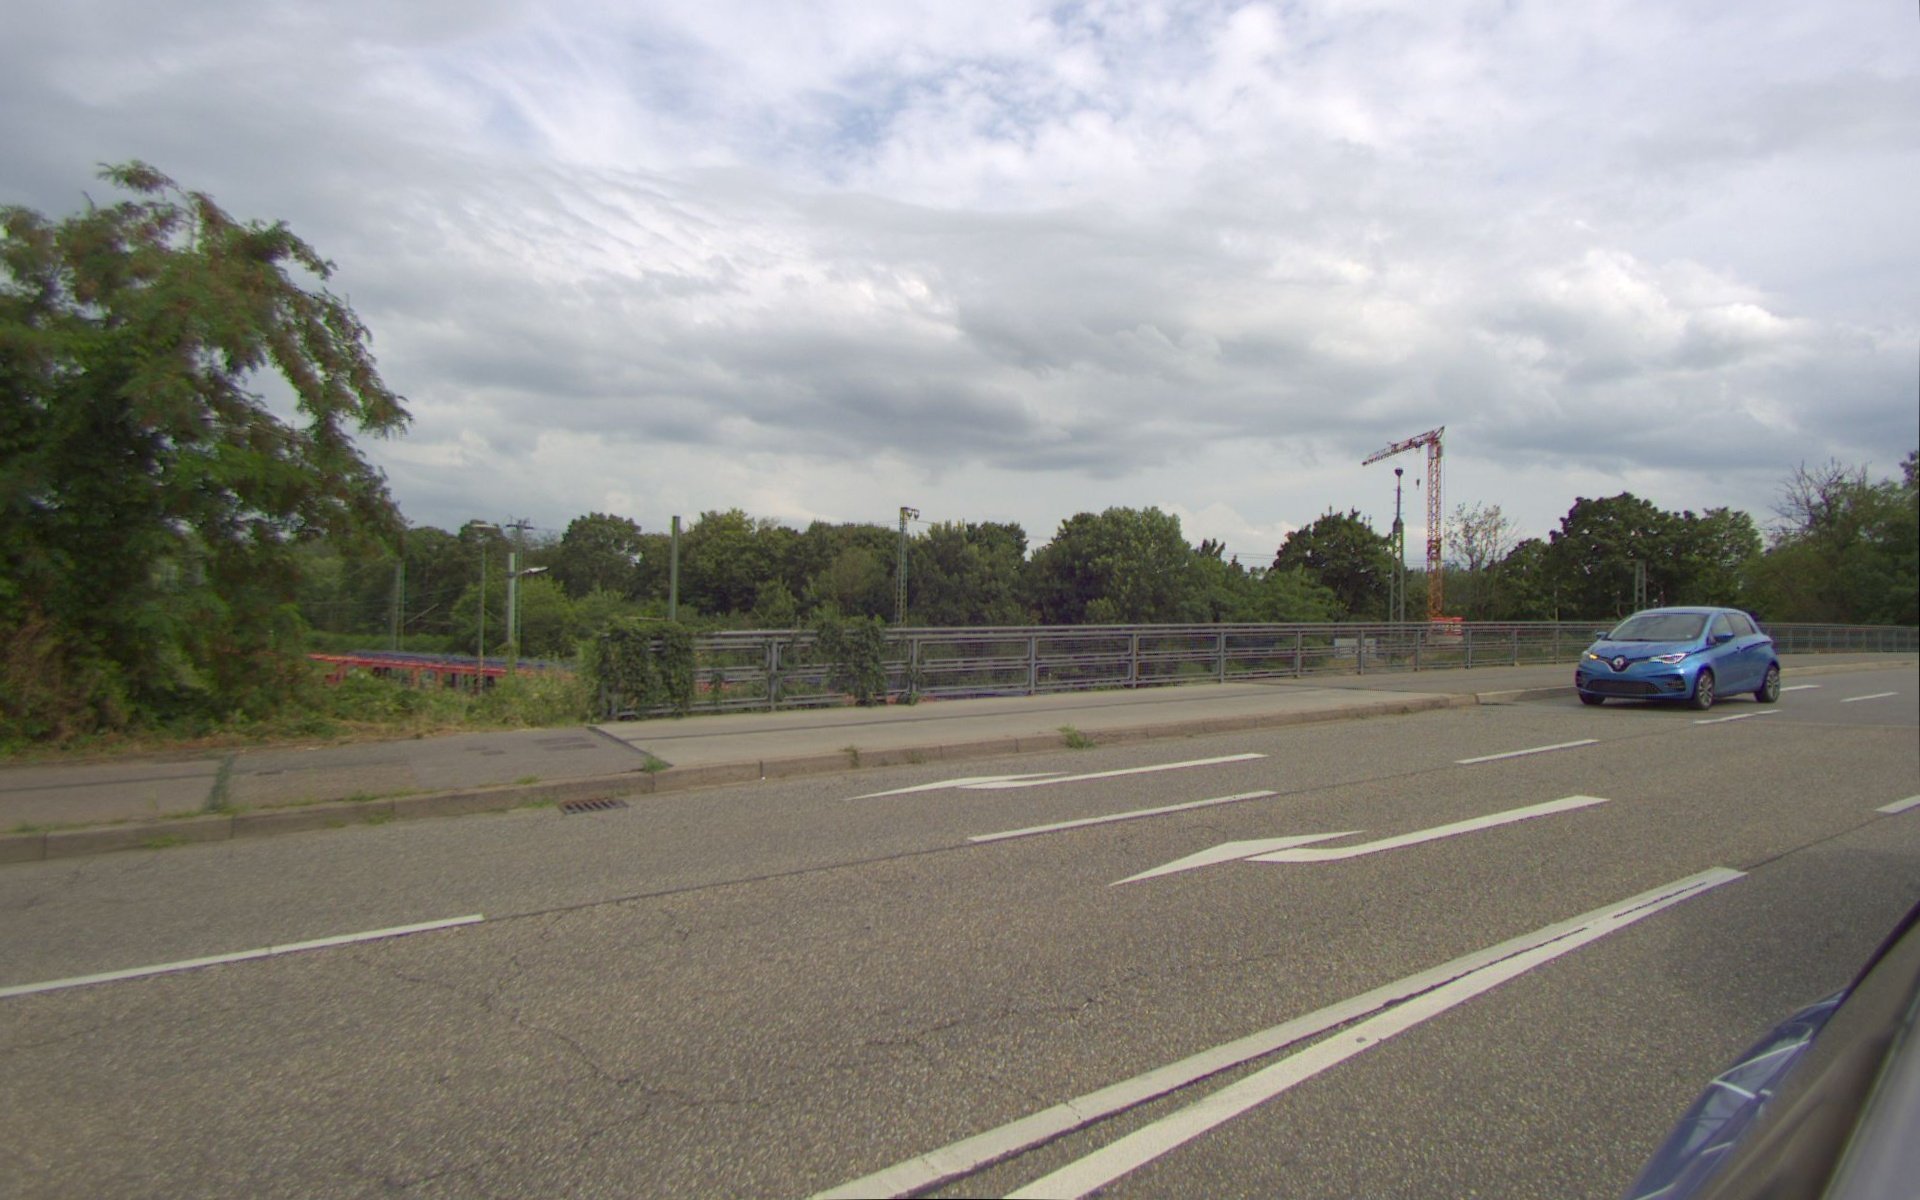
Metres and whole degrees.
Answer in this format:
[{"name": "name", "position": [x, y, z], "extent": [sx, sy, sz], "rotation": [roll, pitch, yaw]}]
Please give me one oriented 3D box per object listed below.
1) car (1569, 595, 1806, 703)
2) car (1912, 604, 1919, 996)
[{"name": "car", "position": [11.699, 0.719, 16.230], "extent": [3.872, 1.541, 1.727], "rotation": [0, -2, -33]}, {"name": "car", "position": [5.805, 0.704, 4.152], "extent": [4.639, 1.381, 1.854], "rotation": [0, 0, -35]}]
